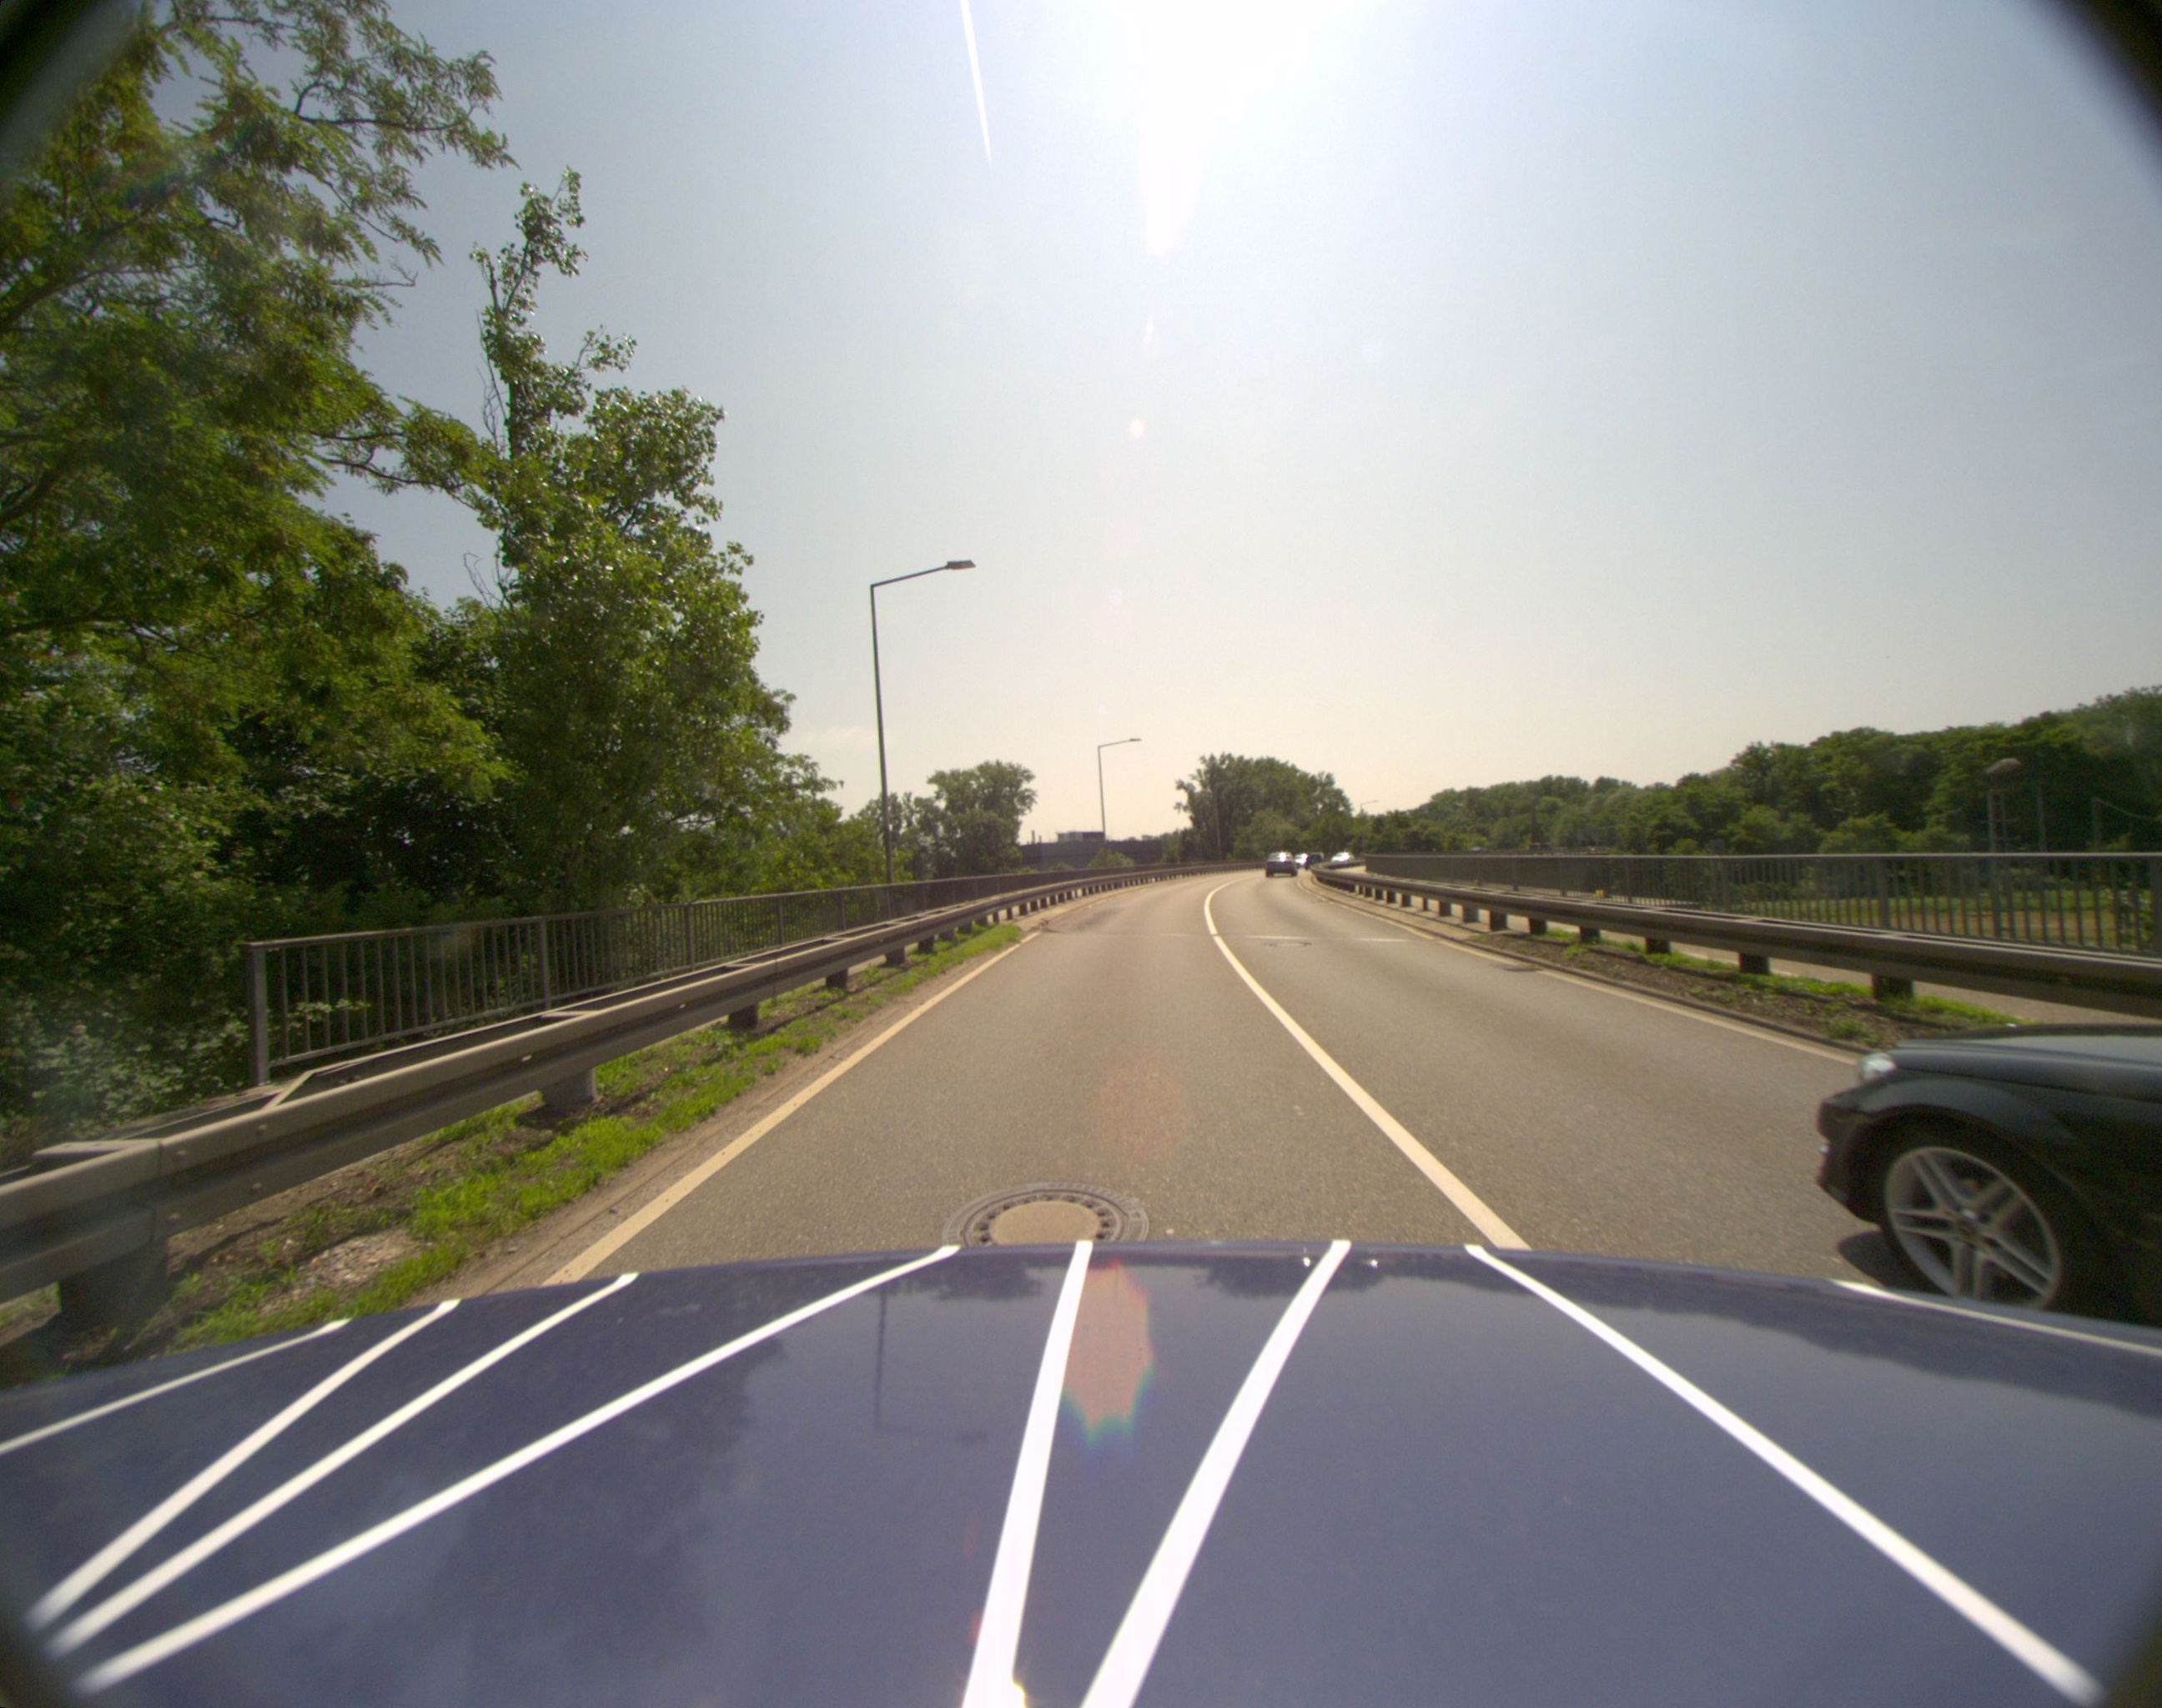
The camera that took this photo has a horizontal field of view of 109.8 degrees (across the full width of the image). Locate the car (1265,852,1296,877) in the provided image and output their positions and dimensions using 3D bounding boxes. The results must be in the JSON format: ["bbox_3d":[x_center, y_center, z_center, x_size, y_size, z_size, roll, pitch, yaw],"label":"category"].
[{"bbox_3d":[13.158,0.688,49.994,1.825,1.527,4.201,-2,-1,16],"label":"car"}]

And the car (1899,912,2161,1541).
[{"bbox_3d":[3.346,0.892,0.291,1.680,1.435,4.130,-1,0,2],"label":"car"}]

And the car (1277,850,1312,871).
[{"bbox_3d":[21.574,0.607,76.671,1.995,2.001,4.008,-3,-1,36],"label":"car"}]

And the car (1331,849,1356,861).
[{"bbox_3d":[31.154,0.157,90.032,1.543,1.346,3.585,-3,-1,40],"label":"car"}]

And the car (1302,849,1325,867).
[{"bbox_3d":[20.376,0.363,66.612,1.598,1.477,2.752,-3,-1,22],"label":"car"}]
